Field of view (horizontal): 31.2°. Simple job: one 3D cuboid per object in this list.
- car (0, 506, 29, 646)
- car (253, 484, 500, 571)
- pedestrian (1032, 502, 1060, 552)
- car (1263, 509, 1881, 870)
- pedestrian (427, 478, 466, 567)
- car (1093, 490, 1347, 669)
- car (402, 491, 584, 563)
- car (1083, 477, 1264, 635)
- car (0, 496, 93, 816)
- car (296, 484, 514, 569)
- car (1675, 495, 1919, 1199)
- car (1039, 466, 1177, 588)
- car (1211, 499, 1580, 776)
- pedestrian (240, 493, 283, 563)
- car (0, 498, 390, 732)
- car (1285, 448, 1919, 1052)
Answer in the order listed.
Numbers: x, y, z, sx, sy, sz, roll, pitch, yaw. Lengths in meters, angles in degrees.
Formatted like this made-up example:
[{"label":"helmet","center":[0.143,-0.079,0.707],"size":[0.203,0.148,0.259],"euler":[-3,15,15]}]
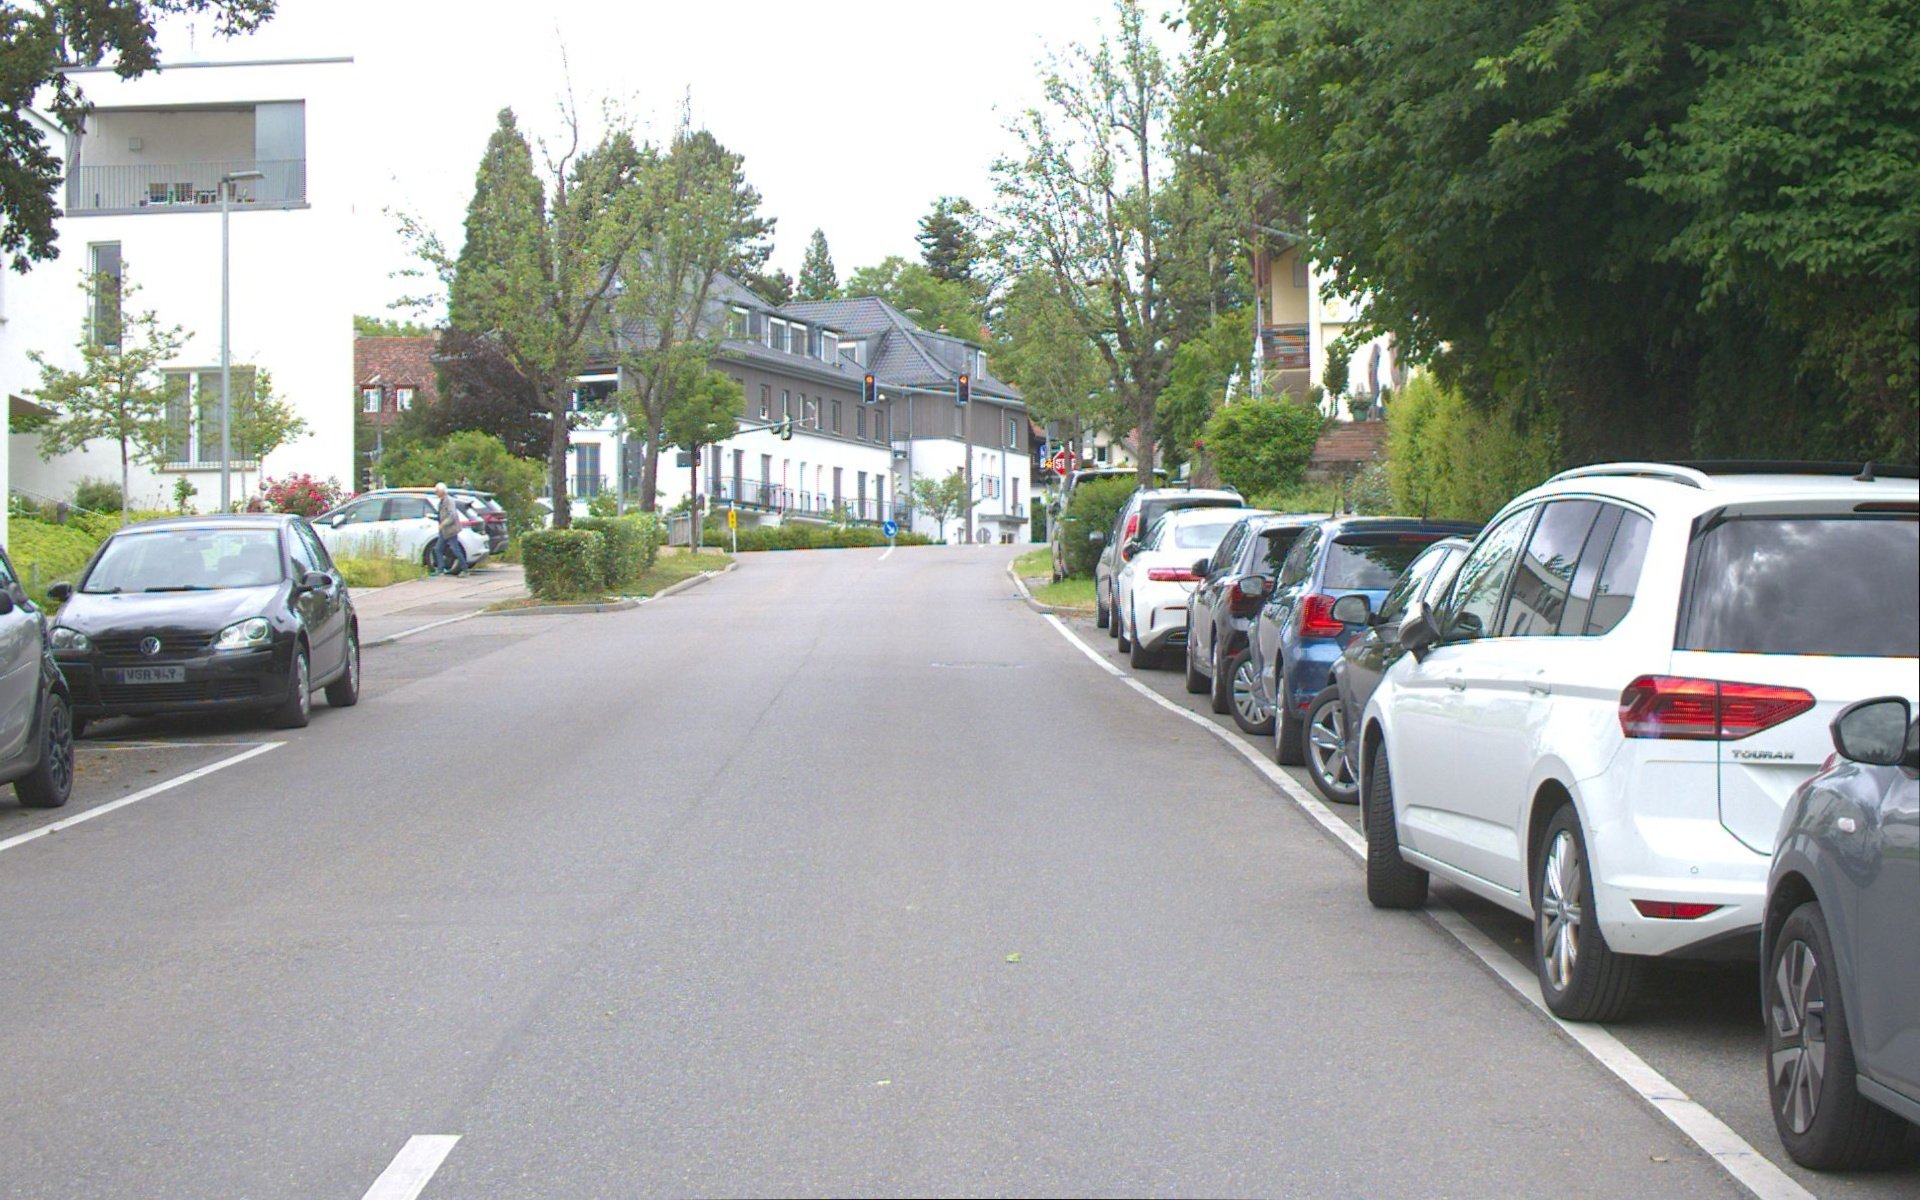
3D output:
[{"label":"car","center":[-11.237,-0.233,33.755],"size":[3.793,1.349,1.742],"euler":[-1,2,-6]},{"label":"car","center":[-11.155,-1.400,65.939],"size":[4.386,1.561,2.067],"euler":[-1,2,-1]},{"label":"pedestrian","center":[2.935,-2.472,116.850],"size":[0.685,1.676,0.699],"euler":[0,2,31]},{"label":"car","center":[2.718,0.311,16.327],"size":[1.809,1.447,4.379],"euler":[-1,2,-5]},{"label":"pedestrian","center":[-9.578,-1.447,64.159],"size":[0.593,1.635,0.565],"euler":[-1,1,1]},{"label":"car","center":[2.332,-0.256,32.073],"size":[1.993,1.486,5.005],"euler":[-1,2,0]},{"label":"car","center":[-11.485,-1.791,84.777],"size":[4.259,1.617,2.014],"euler":[-2,0,-3]},{"label":"car","center":[2.331,-0.518,38.316],"size":[1.717,1.627,3.929],"euler":[1,2,0]},{"label":"car","center":[-5.368,0.263,16.670],"size":[1.624,1.513,2.976],"euler":[-1,1,-1]},{"label":"car","center":[-11.033,-1.473,68.532],"size":[3.987,1.648,2.009],"euler":[0,2,1]},{"label":"car","center":[2.894,0.536,6.713],"size":[1.937,1.486,4.457],"euler":[-1,2,-1]},{"label":"car","center":[2.297,-1.186,54.671],"size":[1.936,1.831,5.219],"euler":[0,2,0]},{"label":"car","center":[2.587,0.149,21.299],"size":[1.697,1.503,4.160],"euler":[1,2,0]},{"label":"pedestrian","center":[-12.934,-1.343,63.642],"size":[0.607,1.278,0.900],"euler":[1,1,-1]},{"label":"car","center":[-5.320,0.025,24.493],"size":[1.850,1.464,4.684],"euler":[-1,2,-2]},{"label":"car","center":[2.537,0.314,11.653],"size":[2.000,1.603,4.760],"euler":[-1,2,-5]}]
